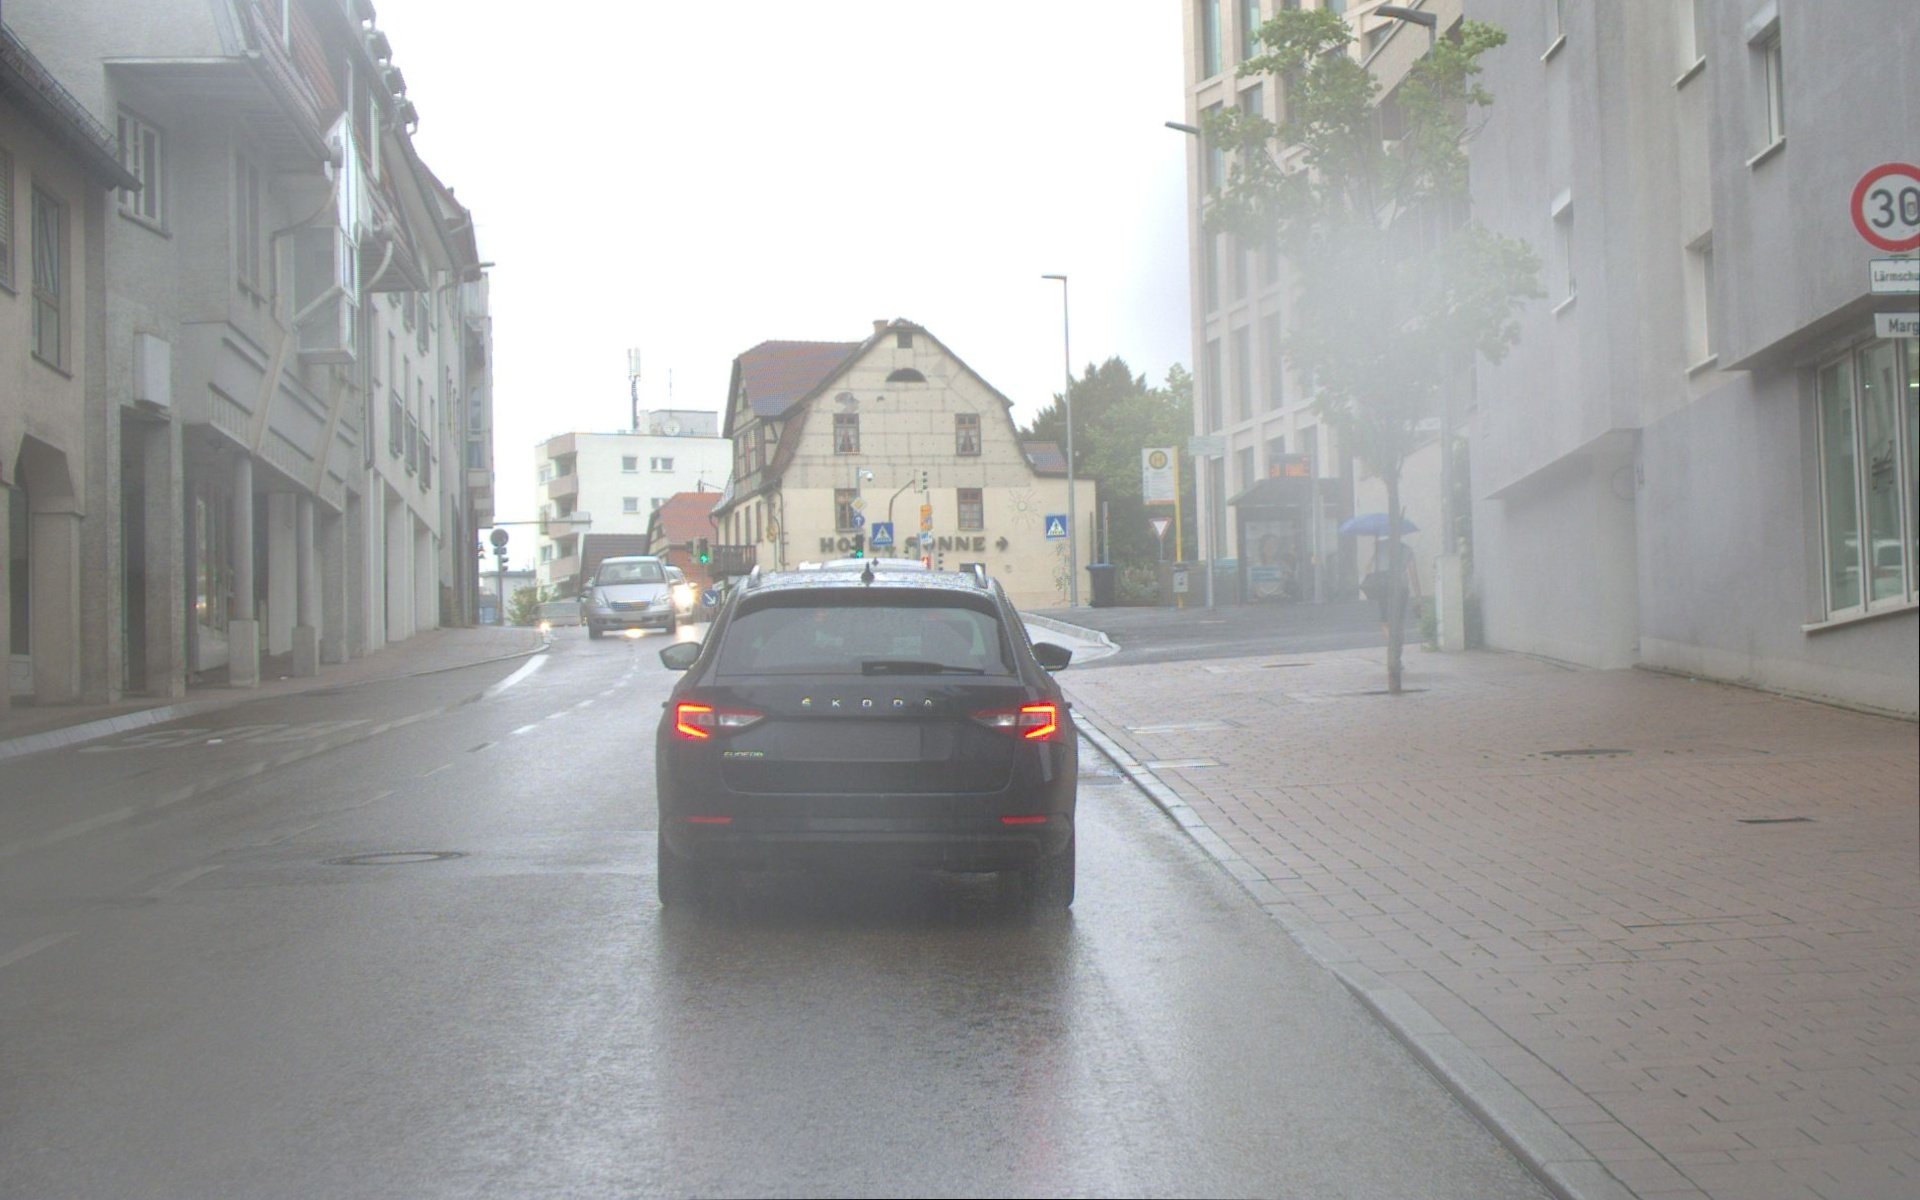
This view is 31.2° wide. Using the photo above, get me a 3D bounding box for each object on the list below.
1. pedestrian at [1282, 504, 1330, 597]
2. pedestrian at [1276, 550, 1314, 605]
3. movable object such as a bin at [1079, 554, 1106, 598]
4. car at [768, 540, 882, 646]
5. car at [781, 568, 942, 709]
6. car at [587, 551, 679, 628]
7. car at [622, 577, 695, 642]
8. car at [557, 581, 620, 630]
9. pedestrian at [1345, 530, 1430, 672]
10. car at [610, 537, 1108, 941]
[{"bbox_3d":[7.335,-1.049,72.939,0.782,1.933,1.021,-3,0,-1],"label":"pedestrian"},{"bbox_3d":[7.257,-0.490,74.476,0.672,1.158,0.635,-3,0,-1],"label":"pedestrian"},{"bbox_3d":[3.302,-0.599,85.434,0.595,1.058,0.579,-2,0,-2],"label":"movable object such as a bin"},{"bbox_3d":[-2.109,-0.132,54.170,1.680,1.555,4.000,-2,1,-2],"label":"car"},{"bbox_3d":[-1.175,0.401,39.602,1.677,1.505,3.589,-1,1,-4],"label":"car"},{"bbox_3d":[-6.685,-0.237,70.574,1.677,1.505,3.589,-1,1,-3],"label":"car"},{"bbox_3d":[-7.343,0.222,83.927,1.677,1.505,3.589,-1,1,-4],"label":"car"},{"bbox_3d":[-11.199,0.156,103.598,1.676,1.405,3.589,-1,1,-9],"label":"car"},{"bbox_3d":[4.831,0.004,38.907,0.736,1.537,1.038,-4,0,1],"label":"pedestrian"},{"bbox_3d":[-0.463,0.523,15.832,1.944,1.561,4.417,-1,1,-2],"label":"car"}]
